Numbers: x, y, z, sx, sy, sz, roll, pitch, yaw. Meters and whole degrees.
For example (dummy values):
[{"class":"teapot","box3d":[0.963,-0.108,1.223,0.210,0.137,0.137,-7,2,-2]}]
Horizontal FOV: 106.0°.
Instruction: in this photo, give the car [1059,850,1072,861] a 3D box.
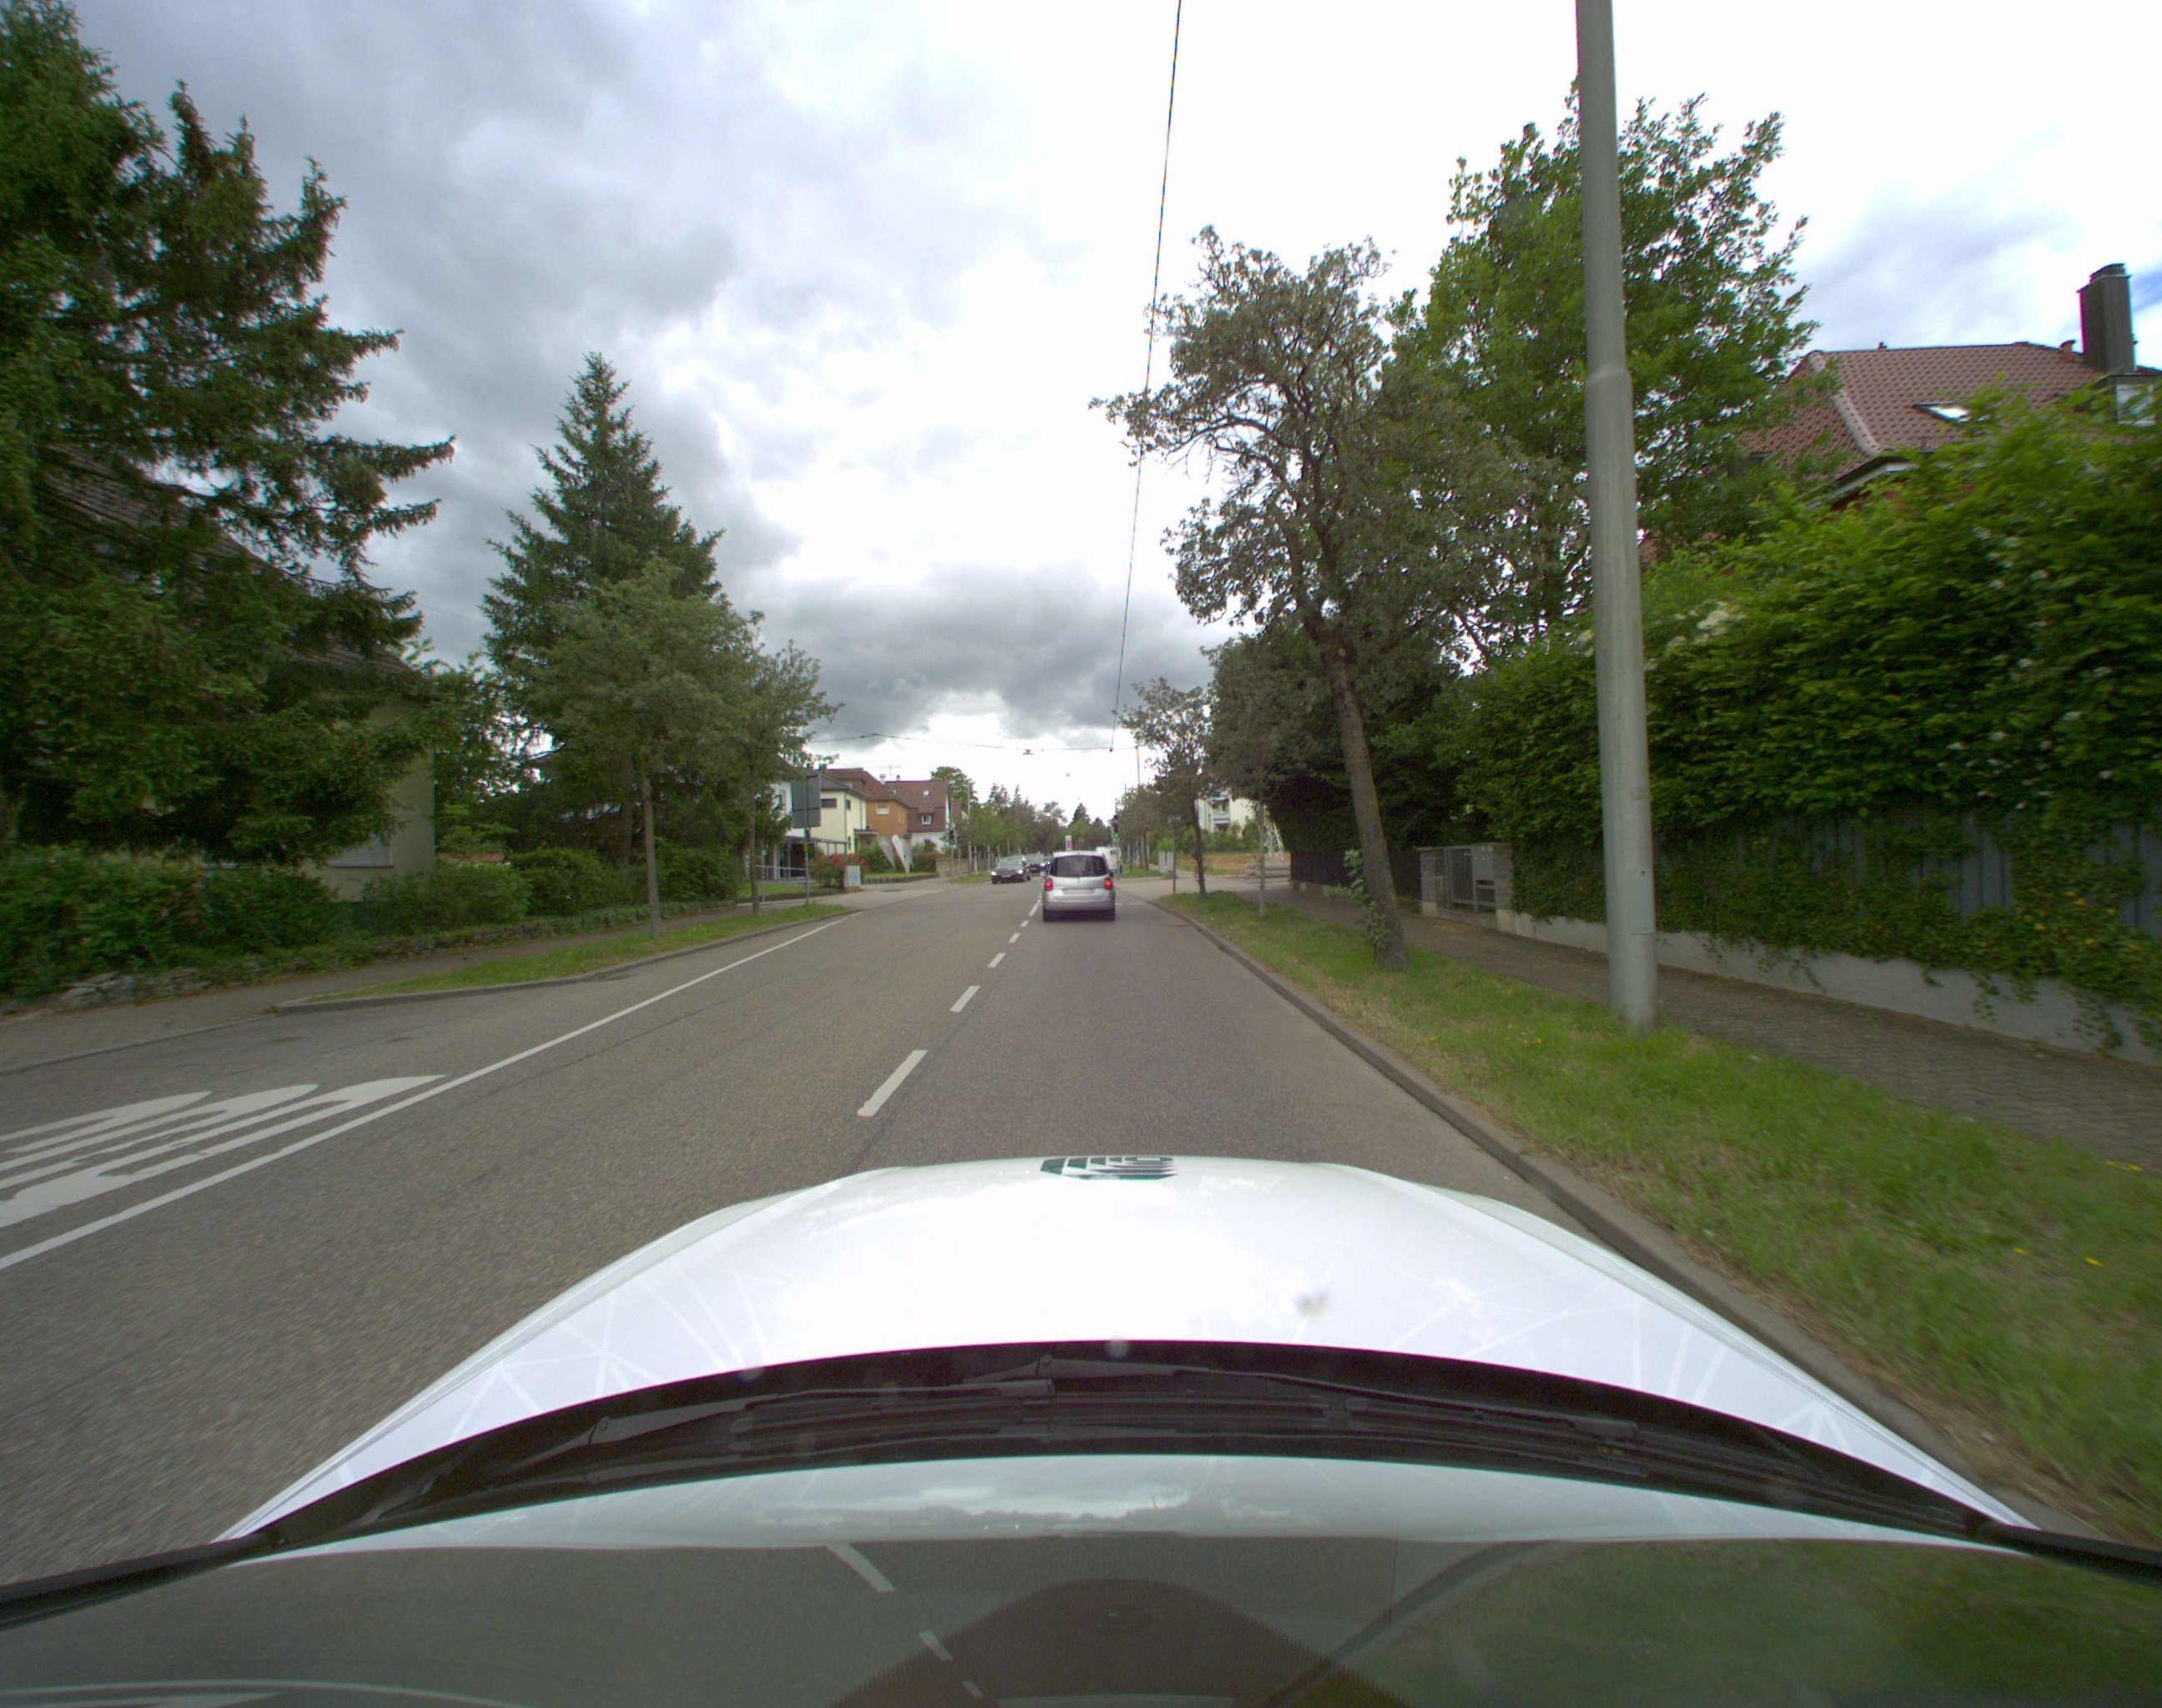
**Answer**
[{"class":"car","box3d":[-2.366,0.217,128.230,1.808,1.692,4.465,-3,0,0]}]

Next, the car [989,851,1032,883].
[{"class":"car","box3d":[-3.963,0.695,46.649,1.987,1.620,4.647,-2,0,0]}]

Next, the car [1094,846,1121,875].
[{"class":"car","box3d":[1.851,0.409,57.693,1.769,1.943,4.788,-1,0,0]}]

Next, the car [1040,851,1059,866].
[{"class":"car","box3d":[-3.391,0.456,88.008,1.610,1.472,4.002,-3,0,2]}]

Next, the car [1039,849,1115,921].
[{"class":"car","box3d":[-0.058,0.678,19.518,1.673,1.560,3.512,0,0,1]}]

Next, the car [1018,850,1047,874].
[{"class":"car","box3d":[-3.575,0.575,60.759,1.889,1.624,4.000,-2,0,0]}]

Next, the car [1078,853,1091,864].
[{"class":"car","box3d":[0.600,0.726,137.593,1.831,1.713,3.995,-3,0,-3]}]

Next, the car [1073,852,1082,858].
[{"class":"car","box3d":[-0.939,0.282,202.817,1.694,1.506,3.962,-2,0,-7]}]

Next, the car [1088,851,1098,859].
[{"class":"car","box3d":[2.283,0.130,155.722,1.624,1.452,3.868,-2,0,-6]}]
